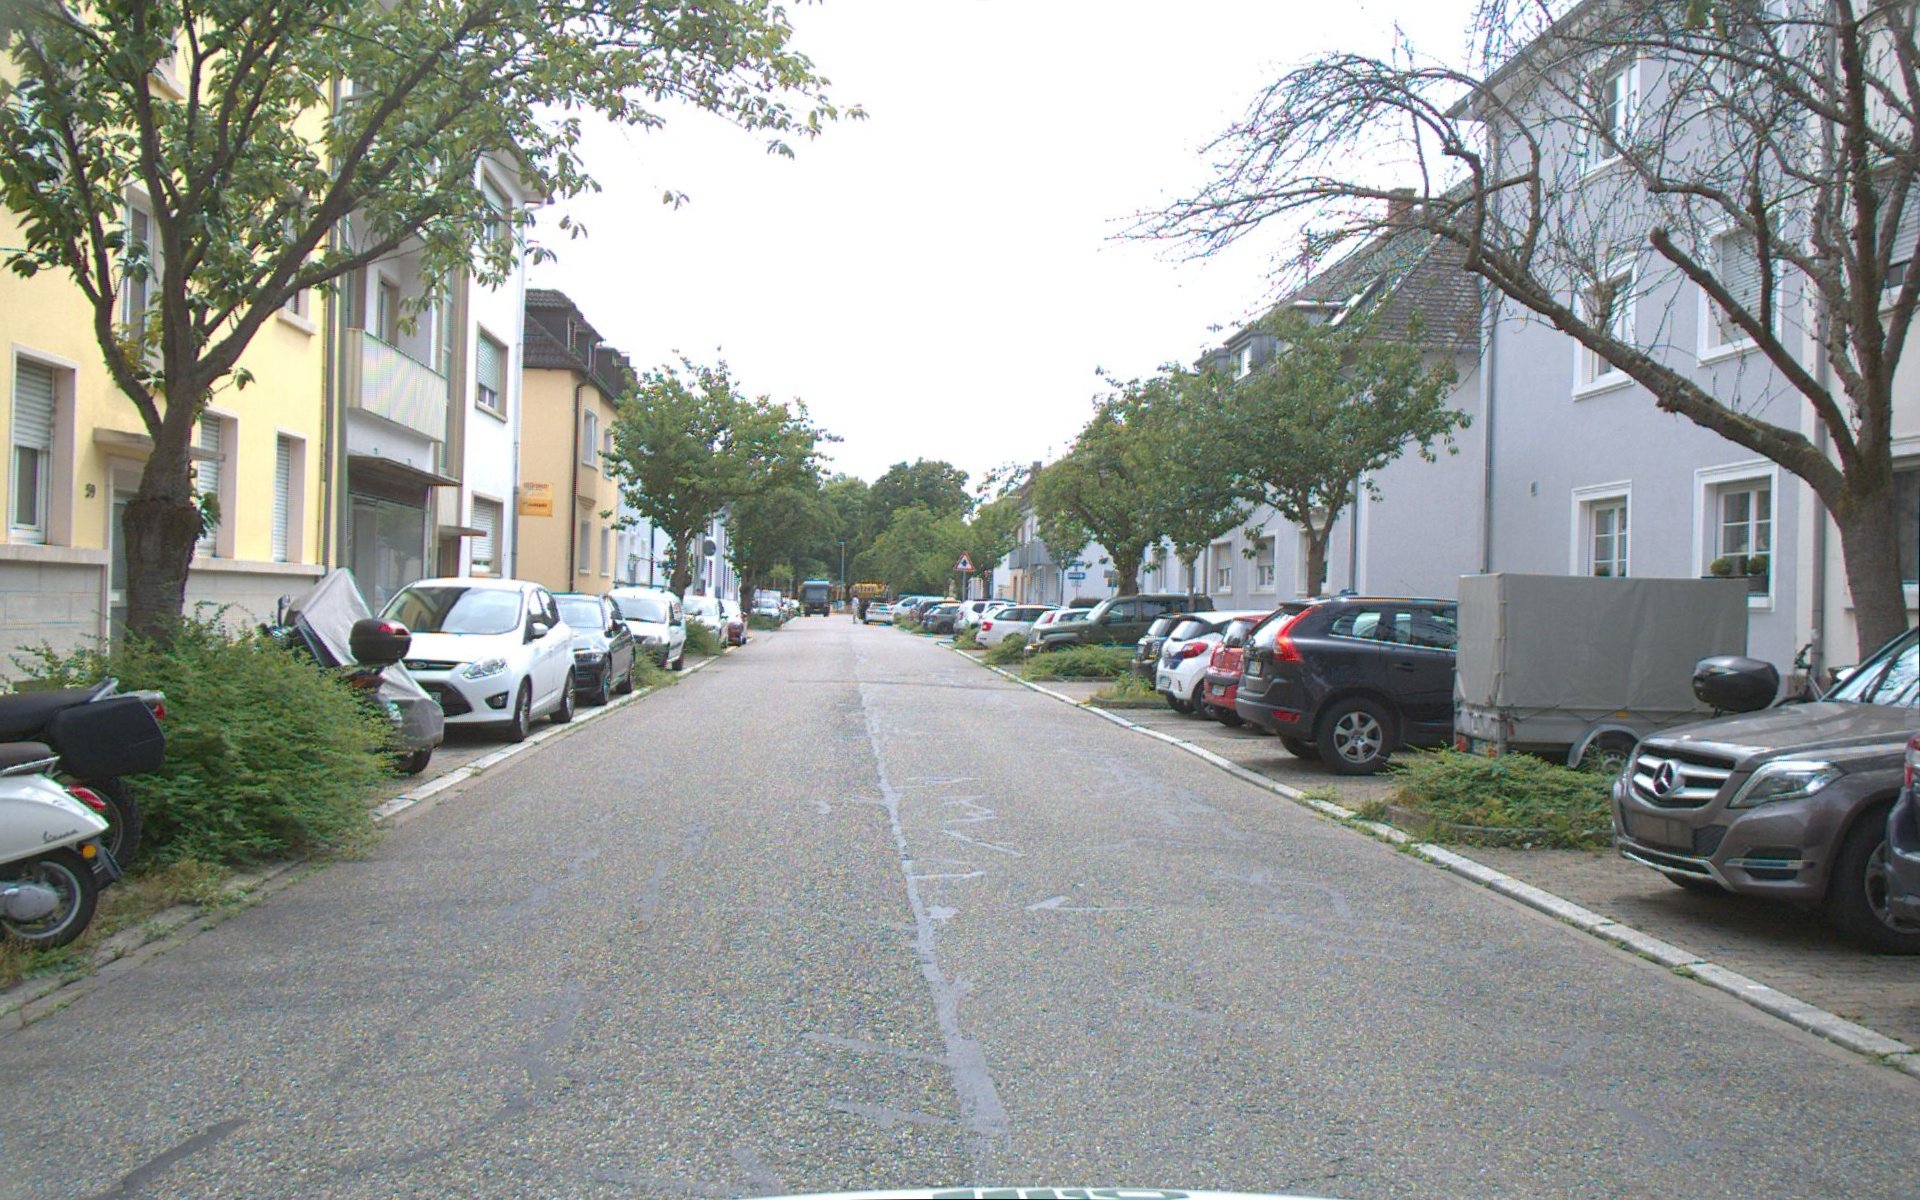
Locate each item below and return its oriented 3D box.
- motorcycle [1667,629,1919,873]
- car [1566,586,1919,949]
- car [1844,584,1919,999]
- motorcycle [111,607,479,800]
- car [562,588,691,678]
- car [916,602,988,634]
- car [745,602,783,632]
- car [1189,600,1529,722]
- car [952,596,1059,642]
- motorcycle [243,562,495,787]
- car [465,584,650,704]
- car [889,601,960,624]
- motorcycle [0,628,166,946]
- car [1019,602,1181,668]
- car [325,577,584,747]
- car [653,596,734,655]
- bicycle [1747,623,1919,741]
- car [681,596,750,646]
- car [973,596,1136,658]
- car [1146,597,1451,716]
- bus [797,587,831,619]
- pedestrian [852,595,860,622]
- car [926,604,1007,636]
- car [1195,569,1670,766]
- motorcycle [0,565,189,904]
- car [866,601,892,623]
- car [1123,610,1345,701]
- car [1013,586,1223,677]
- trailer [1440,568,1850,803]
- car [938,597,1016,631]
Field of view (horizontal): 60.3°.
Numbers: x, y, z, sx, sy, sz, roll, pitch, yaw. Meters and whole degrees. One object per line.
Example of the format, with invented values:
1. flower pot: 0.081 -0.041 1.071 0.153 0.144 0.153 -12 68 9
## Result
1. motorcycle: 5.622 0.920 10.284 2.183 1.434 0.714 1 0 -7
2. car: 5.596 0.733 8.660 4.134 1.626 1.901 -1 0 -7
3. car: 5.862 0.718 6.218 4.134 1.626 1.901 -1 0 -7
4. motorcycle: -4.833 0.736 12.130 2.400 1.334 0.643 -1 -1 -4
5. car: -6.437 0.613 32.353 1.880 1.609 4.378 -1 0 -4
6. car: -0.443 0.954 87.773 3.673 1.592 1.772 -1 0 -4
7. car: -10.793 0.946 91.335 1.727 1.581 3.730 -1 0 -1
8. car: 5.097 0.754 21.410 3.911 1.435 1.765 -1 0 -8
9. car: 1.661 0.704 61.896 3.846 1.661 1.866 -1 0 -4
10. motorcycle: -4.945 0.554 13.743 2.431 1.705 0.933 1 0 43
11. car: -5.689 0.607 23.926 1.755 1.518 4.808 2 -1 -4
12. car: -2.546 0.864 117.519 4.879 1.545 1.766 -1 0 -6
13. motorcycle: -4.166 0.736 6.447 1.886 1.212 0.590 -1 -1 -32
14. car: 3.324 0.818 39.547 3.557 1.480 1.769 -1 0 -9
15. car: -5.208 0.596 17.592 1.722 1.583 4.252 1 0 -4
16. car: -7.618 0.713 47.617 1.737 1.416 4.271 7 -1 -4
17. bicycle: 8.977 0.811 17.048 0.673 1.116 2.004 -1 0 -3
18. car: -7.776 0.658 53.023 1.840 1.512 4.508 -1 0 -4
19. car: 2.706 0.780 47.953 4.523 1.693 1.891 -1 0 -4
20. car: 4.781 0.769 23.622 3.911 1.557 1.765 -1 0 -8
21. bus: -13.046 0.286 148.181 2.945 2.809 8.915 -1 0 -5
22. pedestrian: -6.803 0.549 108.128 0.511 1.734 0.444 -1 -1 -1
23. car: 0.290 0.930 77.465 3.673 1.389 1.772 -1 0 -4
24. car: 4.555 0.627 16.395 4.130 1.766 1.903 -1 0 -2
25. motorcycle: -4.717 0.606 7.443 2.209 1.507 0.590 -1 -1 -32
26. car: -5.352 0.782 109.004 1.653 1.378 3.824 -1 0 -3
27. car: 4.733 0.936 28.868 3.474 1.478 1.807 -1 0 -5
28. car: 3.445 0.678 36.617 4.434 1.890 1.792 -1 0 -2
29. trailer: 5.765 0.693 14.118 2.900 1.863 1.400 -1 0 -1
30. car: 0.825 0.675 80.369 3.673 1.592 1.772 -1 0 -4
